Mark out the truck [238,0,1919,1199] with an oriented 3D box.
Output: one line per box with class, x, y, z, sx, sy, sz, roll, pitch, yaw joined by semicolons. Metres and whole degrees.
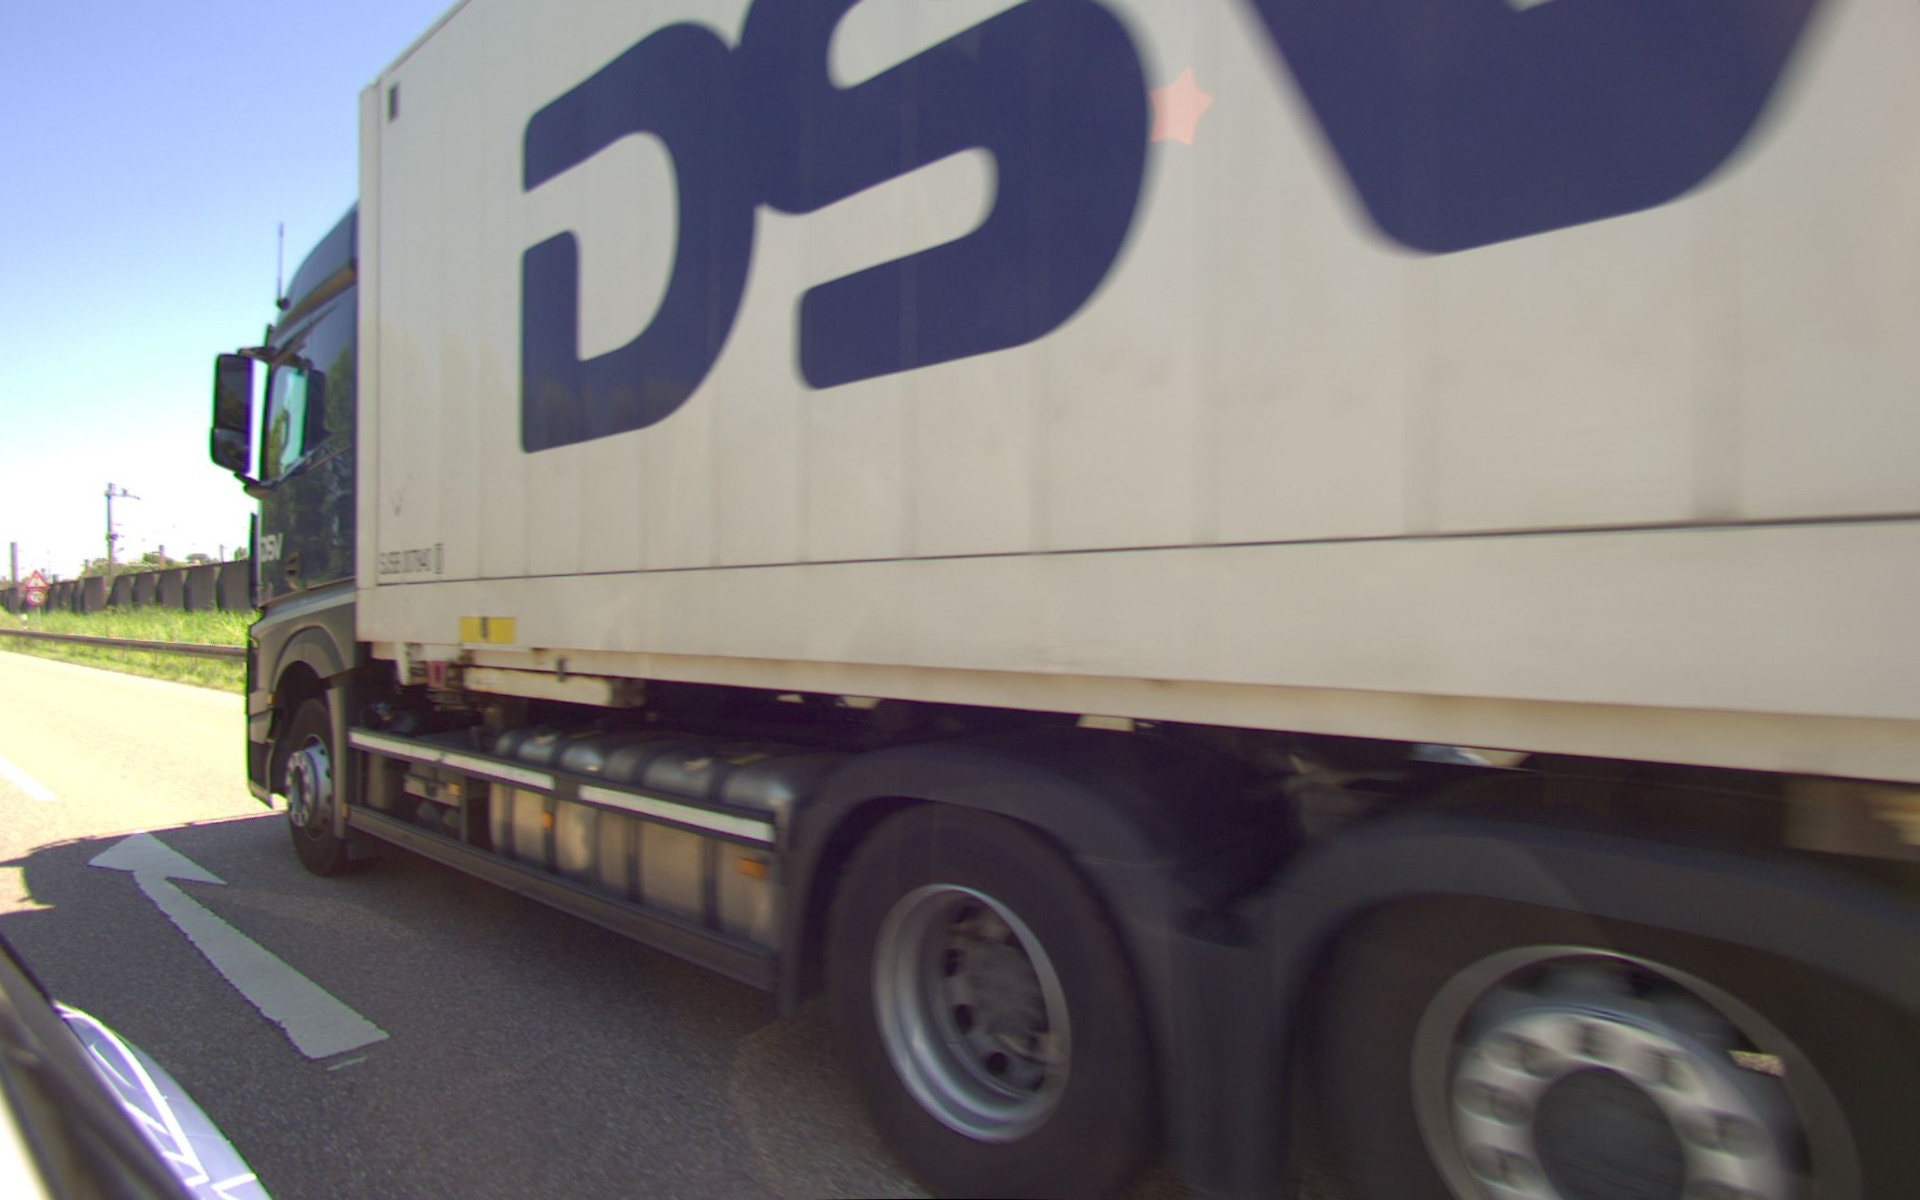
truck;0.563;-0.554;3.639;10.494;4.008;2.768;-1;-2;41
